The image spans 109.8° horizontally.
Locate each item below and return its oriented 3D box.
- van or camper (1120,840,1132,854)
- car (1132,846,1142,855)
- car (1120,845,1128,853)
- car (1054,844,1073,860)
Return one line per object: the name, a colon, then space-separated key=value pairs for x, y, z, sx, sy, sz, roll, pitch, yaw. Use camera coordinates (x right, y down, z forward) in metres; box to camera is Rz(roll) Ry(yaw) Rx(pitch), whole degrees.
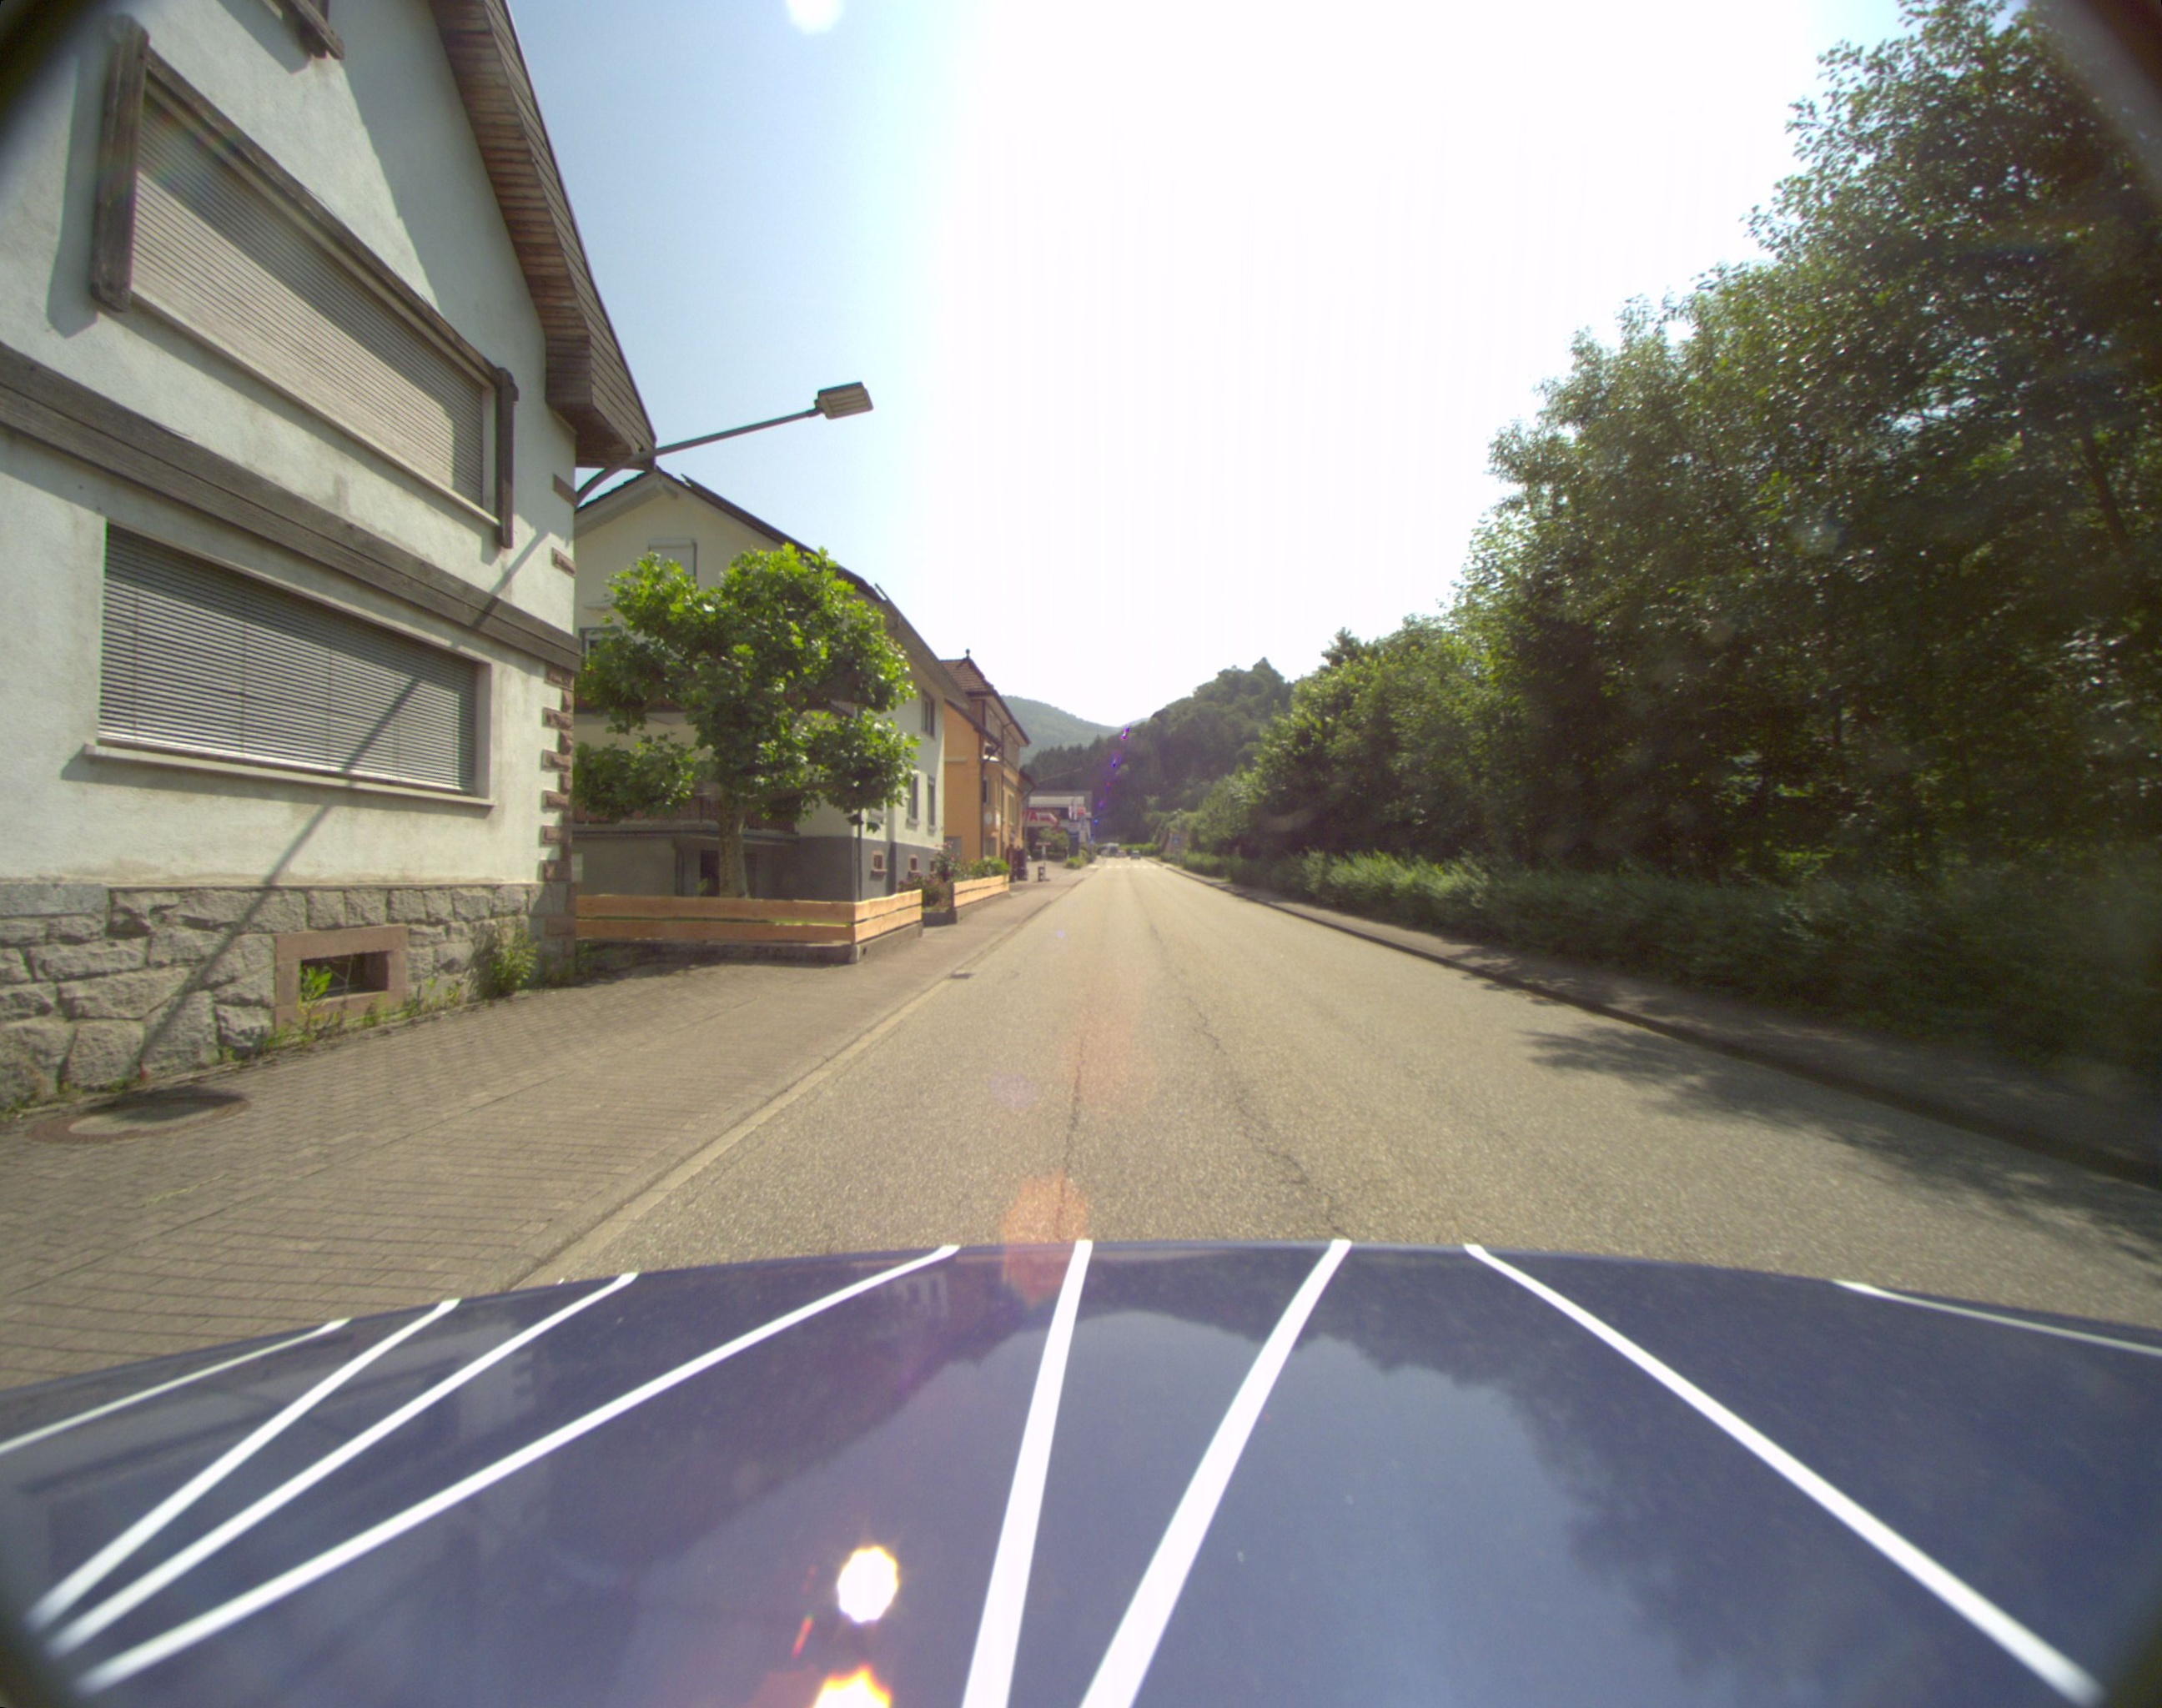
van or camper: x=9.950 y=-1.560 z=167.711 sx=2.363 sy=2.936 sz=8.053 roll=1 pitch=0 yaw=3
car: x=9.757 y=-0.576 z=131.948 sx=1.593 sy=1.474 sz=3.758 roll=1 pitch=0 yaw=5
car: x=8.510 y=-0.949 z=150.355 sx=1.608 sy=1.398 sz=3.827 roll=2 pitch=1 yaw=3
car: x=-1.905 y=-0.267 z=83.221 sx=1.695 sy=1.568 sz=3.911 roll=4 pitch=1 yaw=4
